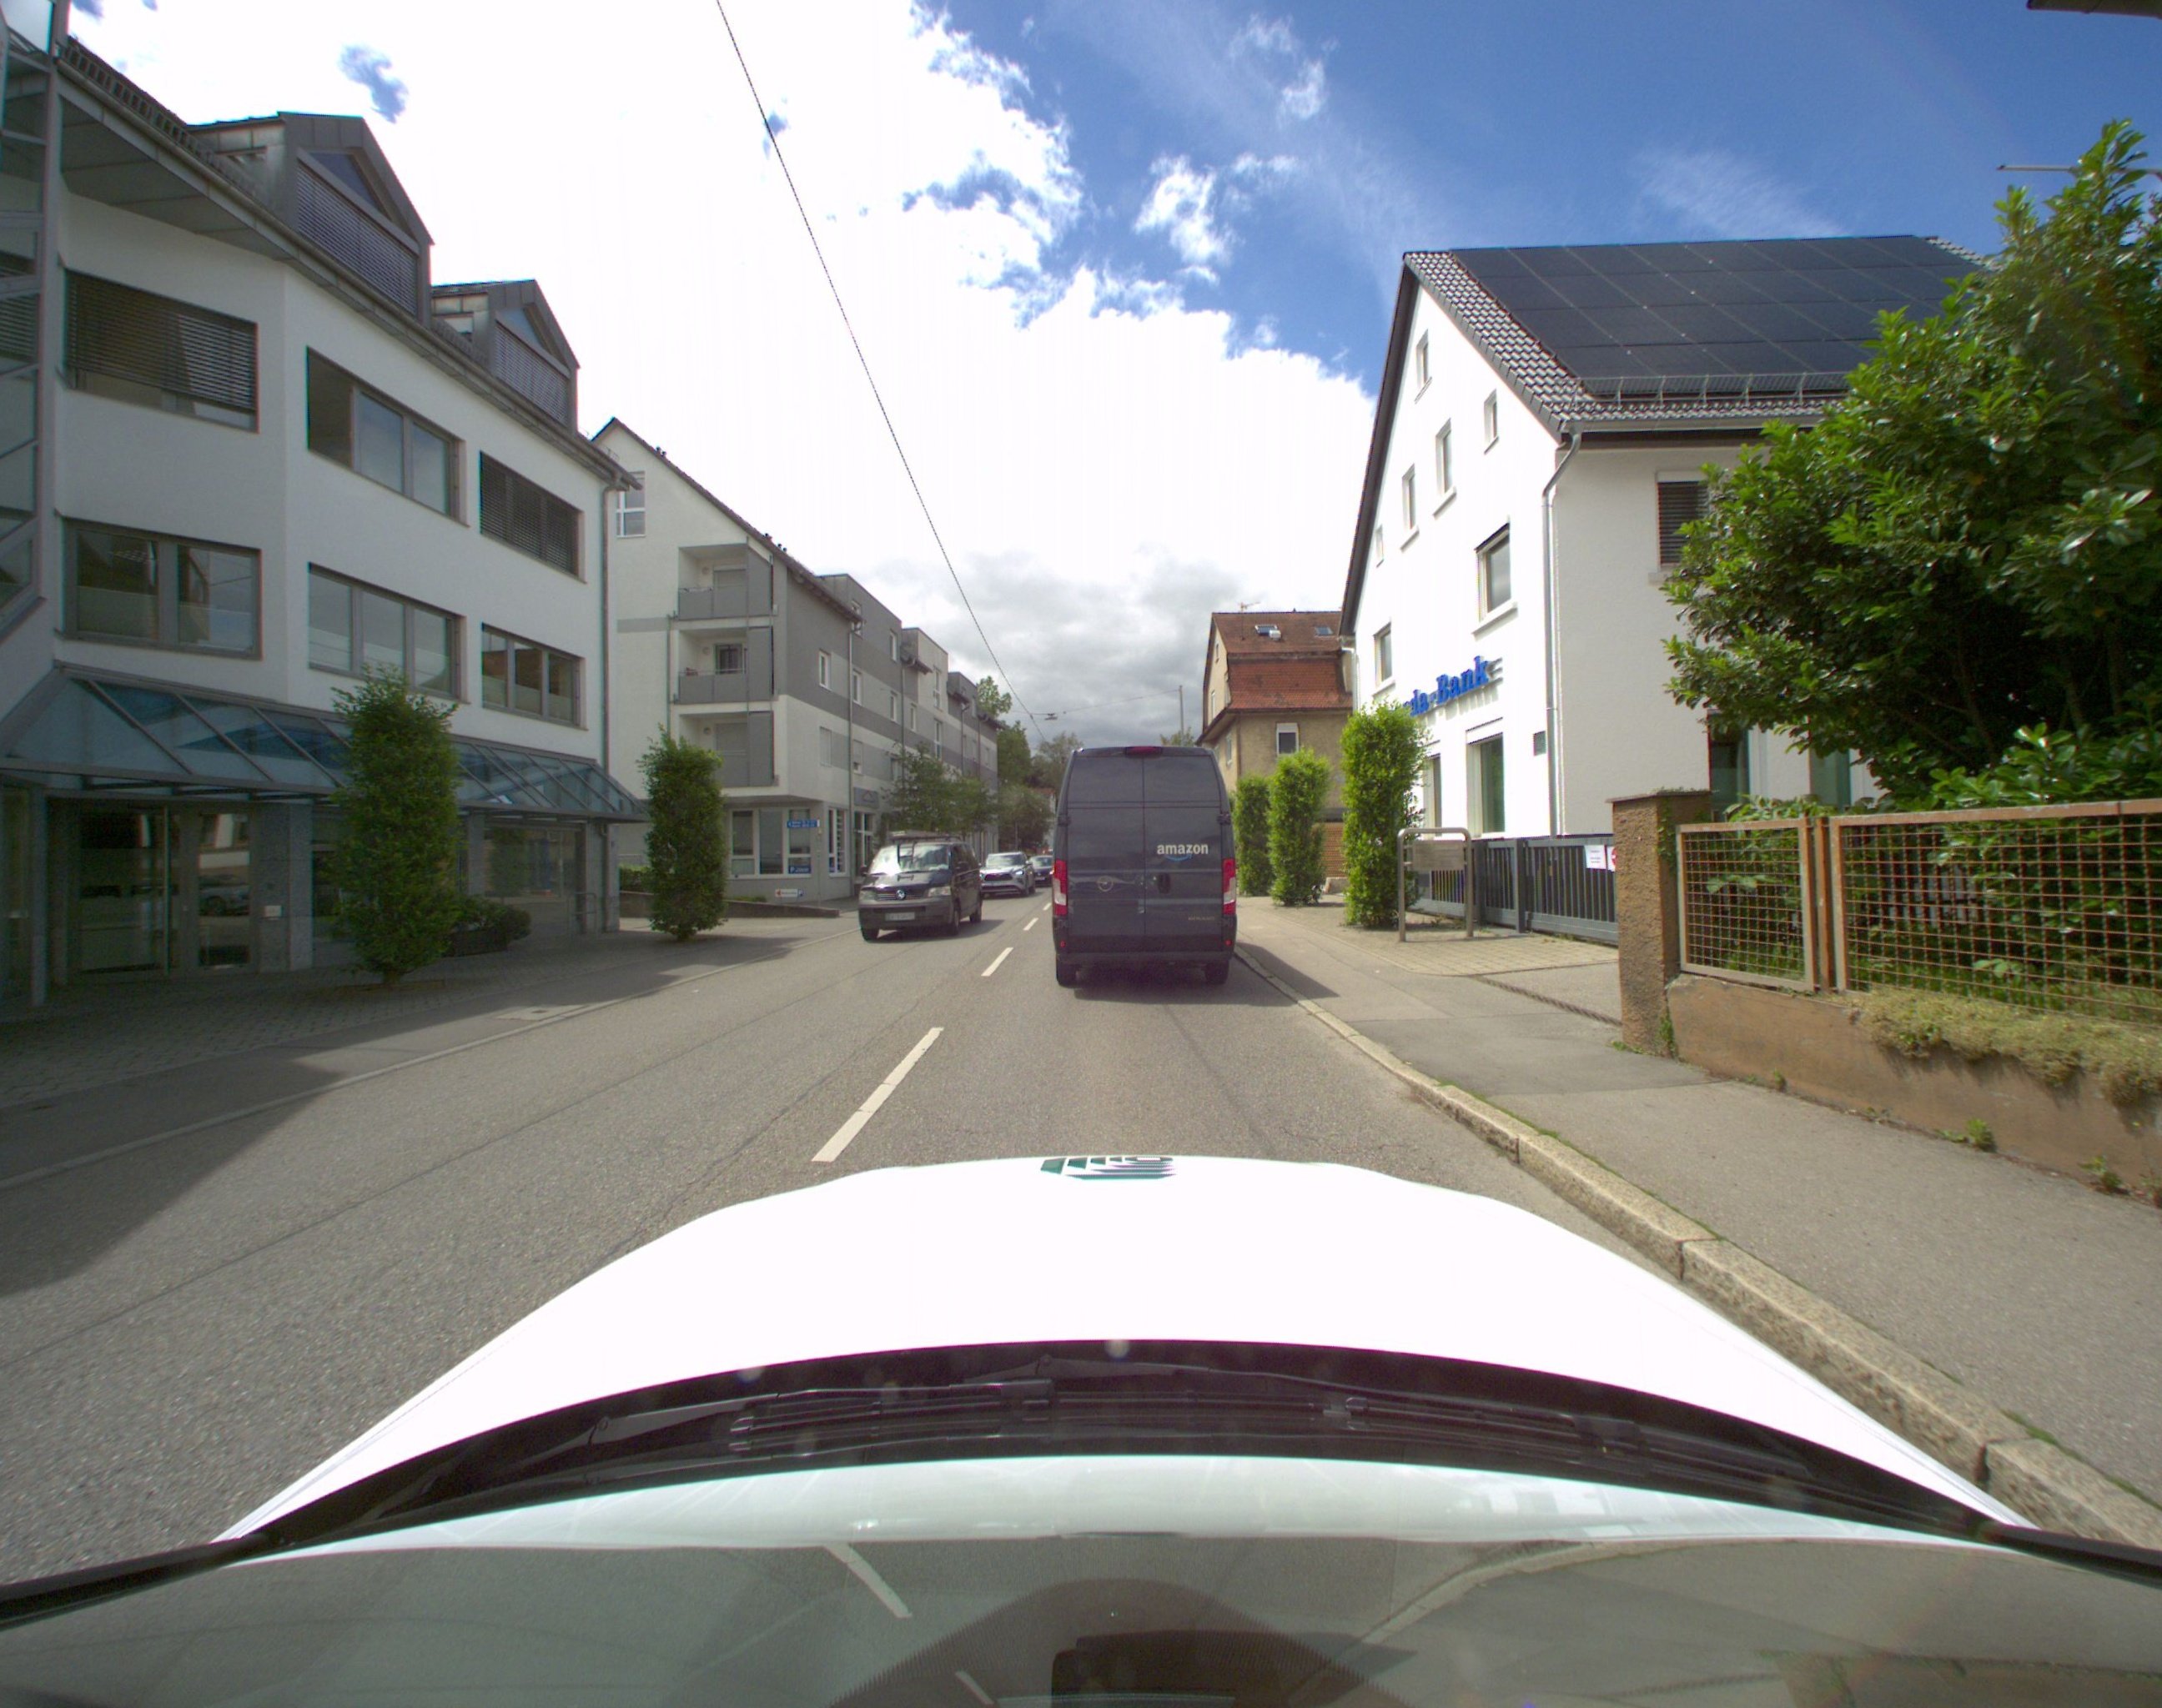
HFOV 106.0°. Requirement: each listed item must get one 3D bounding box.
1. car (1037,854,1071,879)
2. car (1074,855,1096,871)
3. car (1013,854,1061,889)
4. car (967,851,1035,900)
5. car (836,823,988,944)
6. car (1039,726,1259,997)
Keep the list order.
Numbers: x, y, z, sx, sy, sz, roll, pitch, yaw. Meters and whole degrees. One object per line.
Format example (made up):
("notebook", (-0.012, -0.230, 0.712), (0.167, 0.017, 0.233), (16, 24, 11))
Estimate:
("car", (-1.818, 0.800, 55.668), (2.098, 1.596, 4.650), (-2, 0, 0))
("car", (0.407, 0.902, 82.914), (2.098, 1.596, 4.650), (-2, 0, 0))
("car", (-2.161, 0.837, 41.122), (2.098, 1.596, 4.650), (-2, 0, 0))
("car", (-3.011, 0.795, 31.828), (2.098, 1.709, 4.765), (-2, 0, 0))
("car", (-3.397, 0.546, 17.463), (2.098, 2.121, 4.765), (-3, 0, 0))
("car", (0.802, 0.083, 11.384), (2.244, 2.795, 5.571), (-2, 0, 2))
